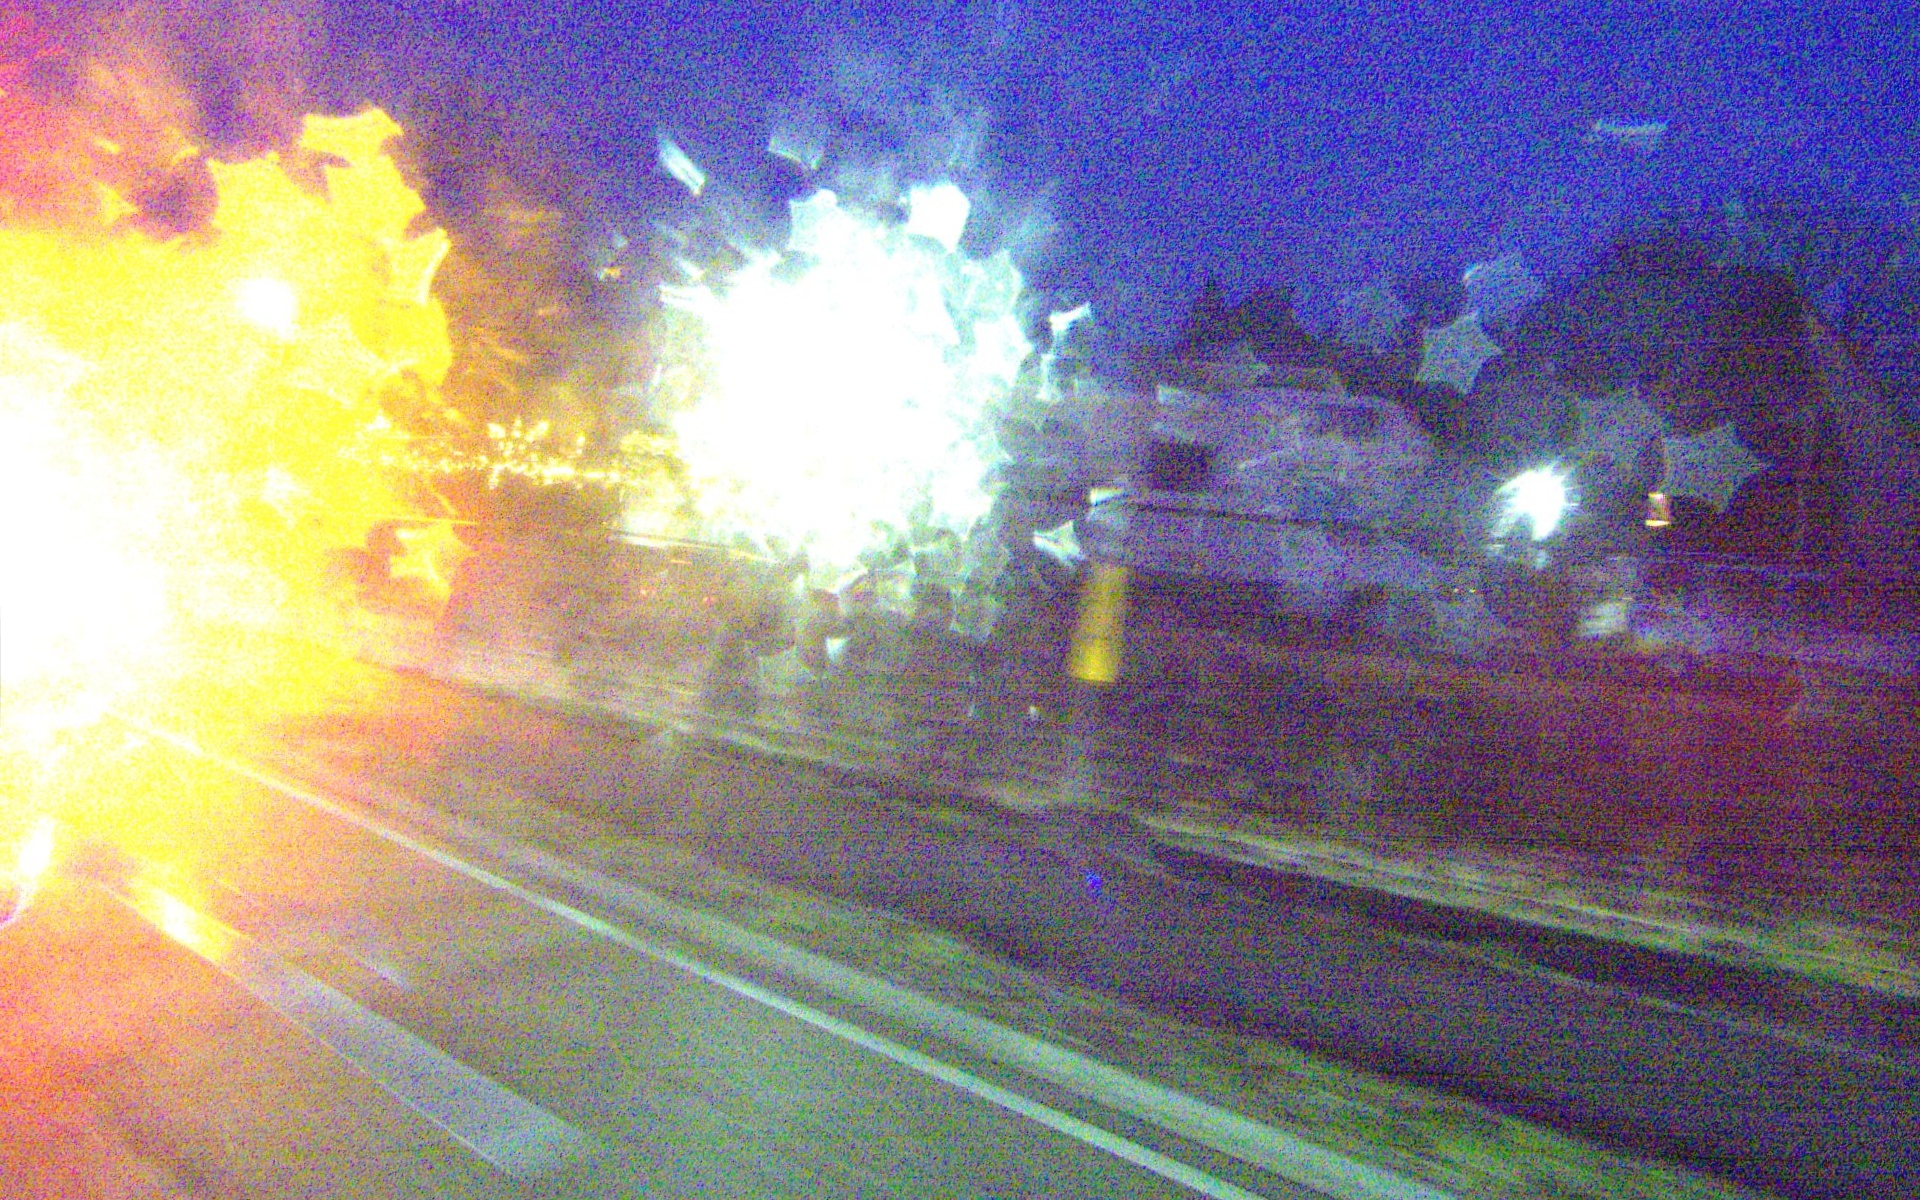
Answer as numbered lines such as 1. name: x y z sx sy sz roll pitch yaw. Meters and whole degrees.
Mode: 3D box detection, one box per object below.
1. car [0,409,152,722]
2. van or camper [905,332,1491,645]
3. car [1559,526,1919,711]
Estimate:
1. car: -8.019 -0.458 7.359 4.149 1.995 1.945 7 -1 33
2. van or camper: 2.812 -1.335 12.817 6.237 2.943 2.591 8 0 13
3. car: 9.915 0.249 12.247 4.056 1.637 1.643 8 -1 15
